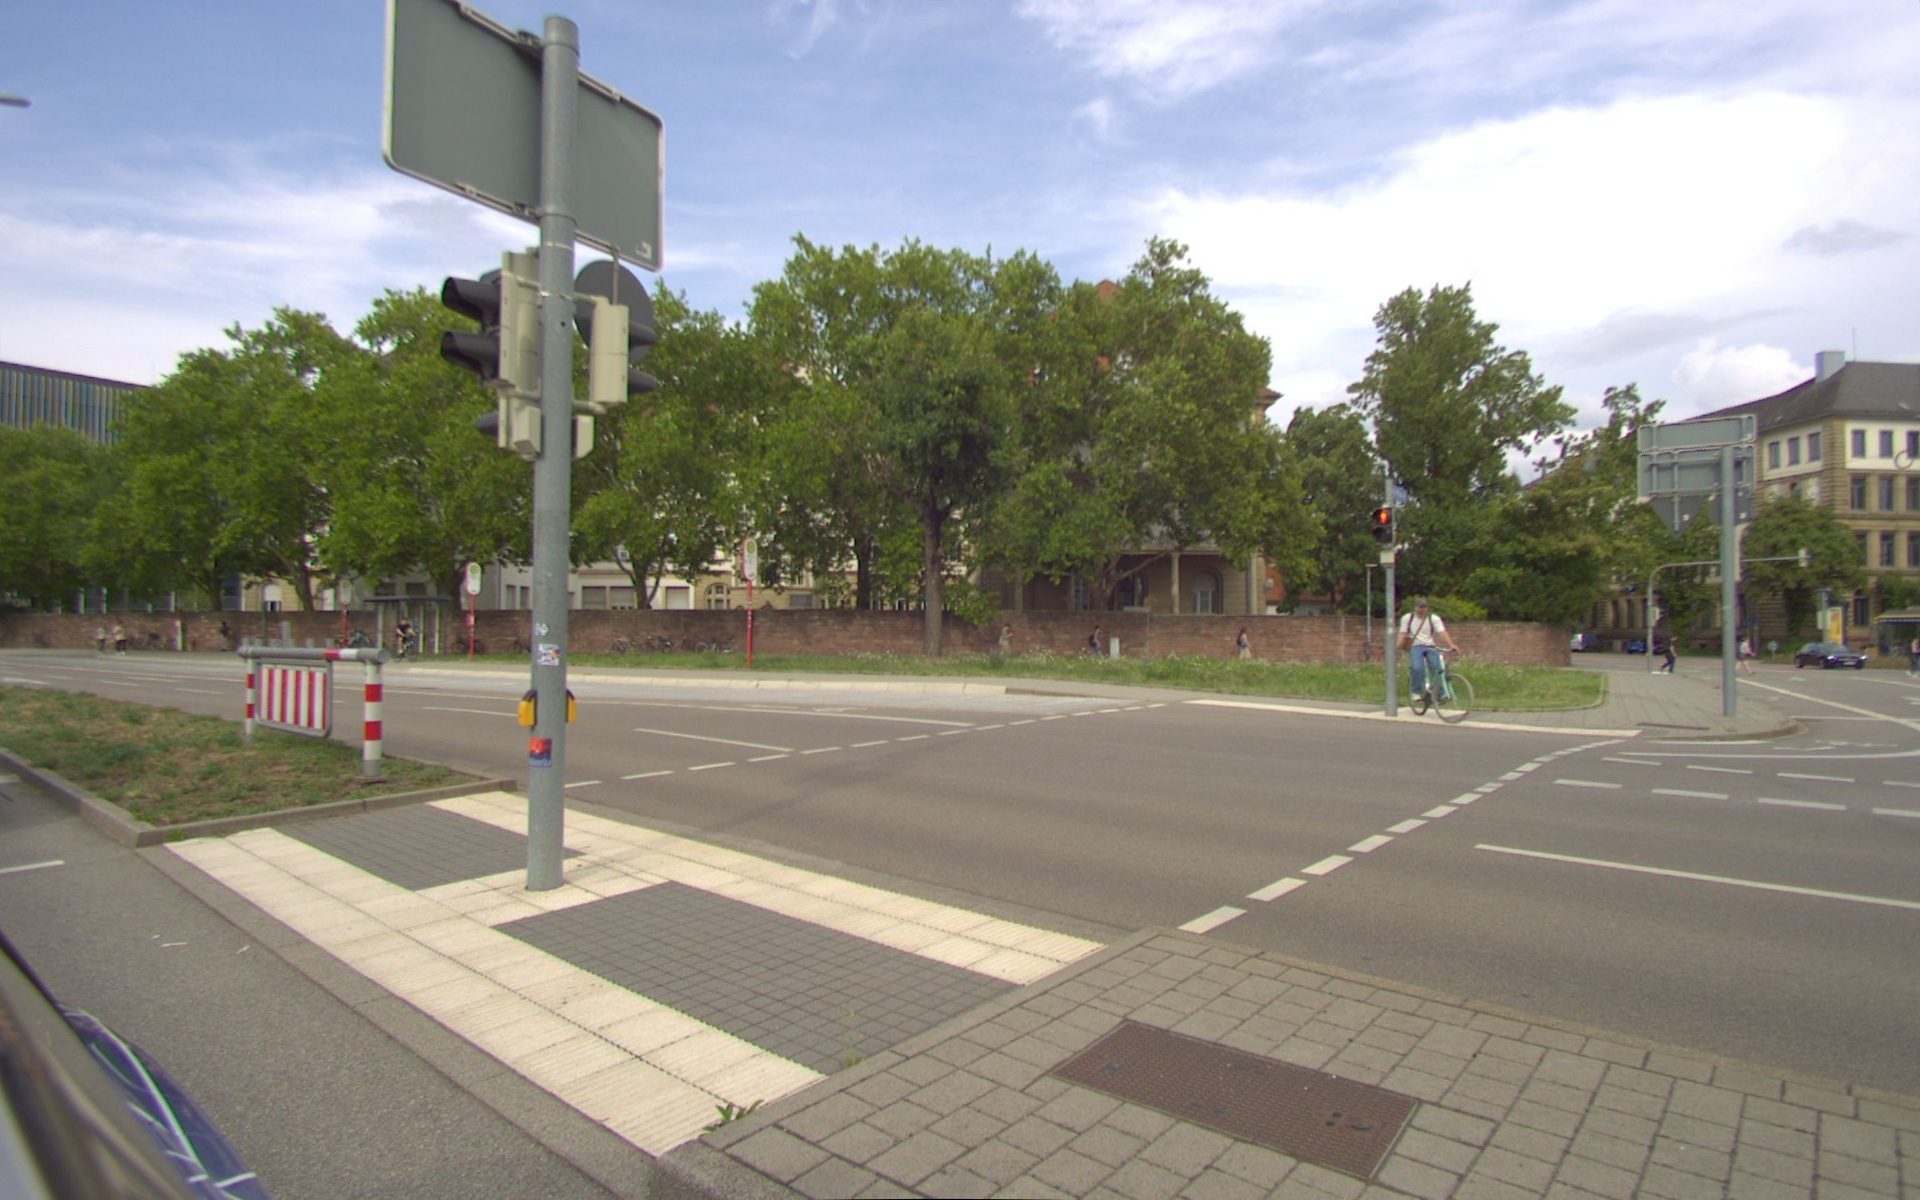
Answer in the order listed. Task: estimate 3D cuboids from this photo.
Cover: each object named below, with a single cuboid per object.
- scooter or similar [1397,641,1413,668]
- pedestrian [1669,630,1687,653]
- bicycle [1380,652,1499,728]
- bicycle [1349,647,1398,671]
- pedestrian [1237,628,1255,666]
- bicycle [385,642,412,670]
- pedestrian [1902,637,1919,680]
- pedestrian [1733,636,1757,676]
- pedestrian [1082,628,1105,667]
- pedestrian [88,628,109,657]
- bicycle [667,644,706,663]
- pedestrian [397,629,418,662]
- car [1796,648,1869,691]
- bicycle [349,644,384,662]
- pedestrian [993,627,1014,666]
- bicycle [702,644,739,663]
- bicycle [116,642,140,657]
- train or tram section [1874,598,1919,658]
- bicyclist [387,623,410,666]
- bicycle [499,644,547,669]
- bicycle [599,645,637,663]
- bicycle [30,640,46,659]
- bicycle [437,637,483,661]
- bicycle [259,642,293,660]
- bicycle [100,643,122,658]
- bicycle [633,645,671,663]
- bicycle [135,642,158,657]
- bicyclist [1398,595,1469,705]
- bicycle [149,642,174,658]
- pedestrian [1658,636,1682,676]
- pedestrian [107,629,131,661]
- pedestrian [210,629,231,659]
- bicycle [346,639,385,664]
[{"bbox_3d":[20.518,2.508,46.659,0.516,1.148,1.509,-1,0,19],"label":"scooter or similar"},{"bbox_3d":[63.739,3.670,89.822,0.879,2.029,1.007,0,-2,7],"label":"pedestrian"},{"bbox_3d":[6.947,1.281,14.783,0.498,0.943,1.976,1,0,-10],"label":"bicycle"},{"bbox_3d":[18.887,2.693,46.227,1.895,1.012,0.781,-1,0,-9],"label":"bicycle"},{"bbox_3d":[12.813,2.088,45.392,0.621,1.667,0.531,-1,0,3],"label":"pedestrian"},{"bbox_3d":[-21.047,2.075,37.898,0.498,0.943,1.975,2,0,-40],"label":"bicycle"},{"bbox_3d":[39.474,2.396,41.741,0.799,1.724,0.829,-1,0,38],"label":"pedestrian"},{"bbox_3d":[34.983,2.472,45.119,0.799,1.724,0.829,-1,0,38],"label":"pedestrian"},{"bbox_3d":[5.827,2.082,44.178,0.768,1.667,0.579,-1,0,-24],"label":"pedestrian"},{"bbox_3d":[-49.209,2.404,57.828,0.663,1.634,0.747,-1,0,30],"label":"pedestrian"},{"bbox_3d":[-12.869,2.535,47.559,1.875,0.871,0.357,-1,-4,18],"label":"bicycle"},{"bbox_3d":[-28.108,2.320,51.494,0.747,1.634,0.566,-1,0,14],"label":"pedestrian"},{"bbox_3d":[46.868,3.696,54.463,1.989,2.029,3.965,-1,0,26],"label":"car"},{"bbox_3d":[-30.722,2.734,52.396,1.562,0.894,0.658,-2,1,17],"label":"bicycle"},{"bbox_3d":[1.909,2.050,44.576,0.769,1.667,0.579,-1,0,-16],"label":"pedestrian"},{"bbox_3d":[-11.278,2.511,47.603,1.690,0.871,0.357,-1,-4,11],"label":"bicycle"},{"bbox_3d":[-49.672,2.947,60.422,1.567,0.894,0.429,-2,1,26],"label":"bicycle"},{"bbox_3d":[54.742,1.539,54.072,3.018,3.302,9.374,-1,0,-2],"label":"train or tram section"},{"bbox_3d":[-20.983,1.648,37.817,0.571,1.567,0.799,2,-1,-40],"label":"bicyclist"},{"bbox_3d":[-21.376,2.771,49.495,2.079,1.198,0.755,-1,-4,15],"label":"bicycle"},{"bbox_3d":[-16.420,2.591,48.566,1.804,0.871,0.357,-1,-4,14],"label":"bicycle"},{"bbox_3d":[-59.679,3.198,65.517,1.393,1.218,0.507,-1,0,36],"label":"bicycle"},{"bbox_3d":[-25.005,2.464,50.634,2.079,1.198,0.755,-1,-4,15],"label":"bicycle"},{"bbox_3d":[-36.911,2.767,54.644,1.562,0.894,0.658,-2,1,17],"label":"bicycle"},{"bbox_3d":[-51.373,3.069,61.228,1.567,0.894,0.429,-2,1,26],"label":"bicycle"},{"bbox_3d":[-14.652,2.563,48.107,1.793,0.871,0.357,-1,-4,16],"label":"bicycle"},{"bbox_3d":[-48.087,2.921,59.802,1.567,0.894,0.429,-2,1,26],"label":"bicycle"},{"bbox_3d":[6.951,0.724,14.880,0.570,1.567,0.800,1,0,-10],"label":"bicyclist"},{"bbox_3d":[-46.283,2.891,58.654,1.567,0.894,0.429,-2,1,26],"label":"bicycle"},{"bbox_3d":[31.497,2.459,44.896,0.799,1.724,0.829,-1,0,38],"label":"pedestrian"},{"bbox_3d":[-43.978,2.355,52.919,0.663,1.634,0.747,-1,0,30],"label":"pedestrian"},{"bbox_3d":[-41.024,2.433,56.145,0.655,1.634,0.756,-1,0,-5],"label":"pedestrian"},{"bbox_3d":[-29.899,2.603,50.938,0.747,1.198,2.100,0,-4,-3],"label":"bicycle"}]
